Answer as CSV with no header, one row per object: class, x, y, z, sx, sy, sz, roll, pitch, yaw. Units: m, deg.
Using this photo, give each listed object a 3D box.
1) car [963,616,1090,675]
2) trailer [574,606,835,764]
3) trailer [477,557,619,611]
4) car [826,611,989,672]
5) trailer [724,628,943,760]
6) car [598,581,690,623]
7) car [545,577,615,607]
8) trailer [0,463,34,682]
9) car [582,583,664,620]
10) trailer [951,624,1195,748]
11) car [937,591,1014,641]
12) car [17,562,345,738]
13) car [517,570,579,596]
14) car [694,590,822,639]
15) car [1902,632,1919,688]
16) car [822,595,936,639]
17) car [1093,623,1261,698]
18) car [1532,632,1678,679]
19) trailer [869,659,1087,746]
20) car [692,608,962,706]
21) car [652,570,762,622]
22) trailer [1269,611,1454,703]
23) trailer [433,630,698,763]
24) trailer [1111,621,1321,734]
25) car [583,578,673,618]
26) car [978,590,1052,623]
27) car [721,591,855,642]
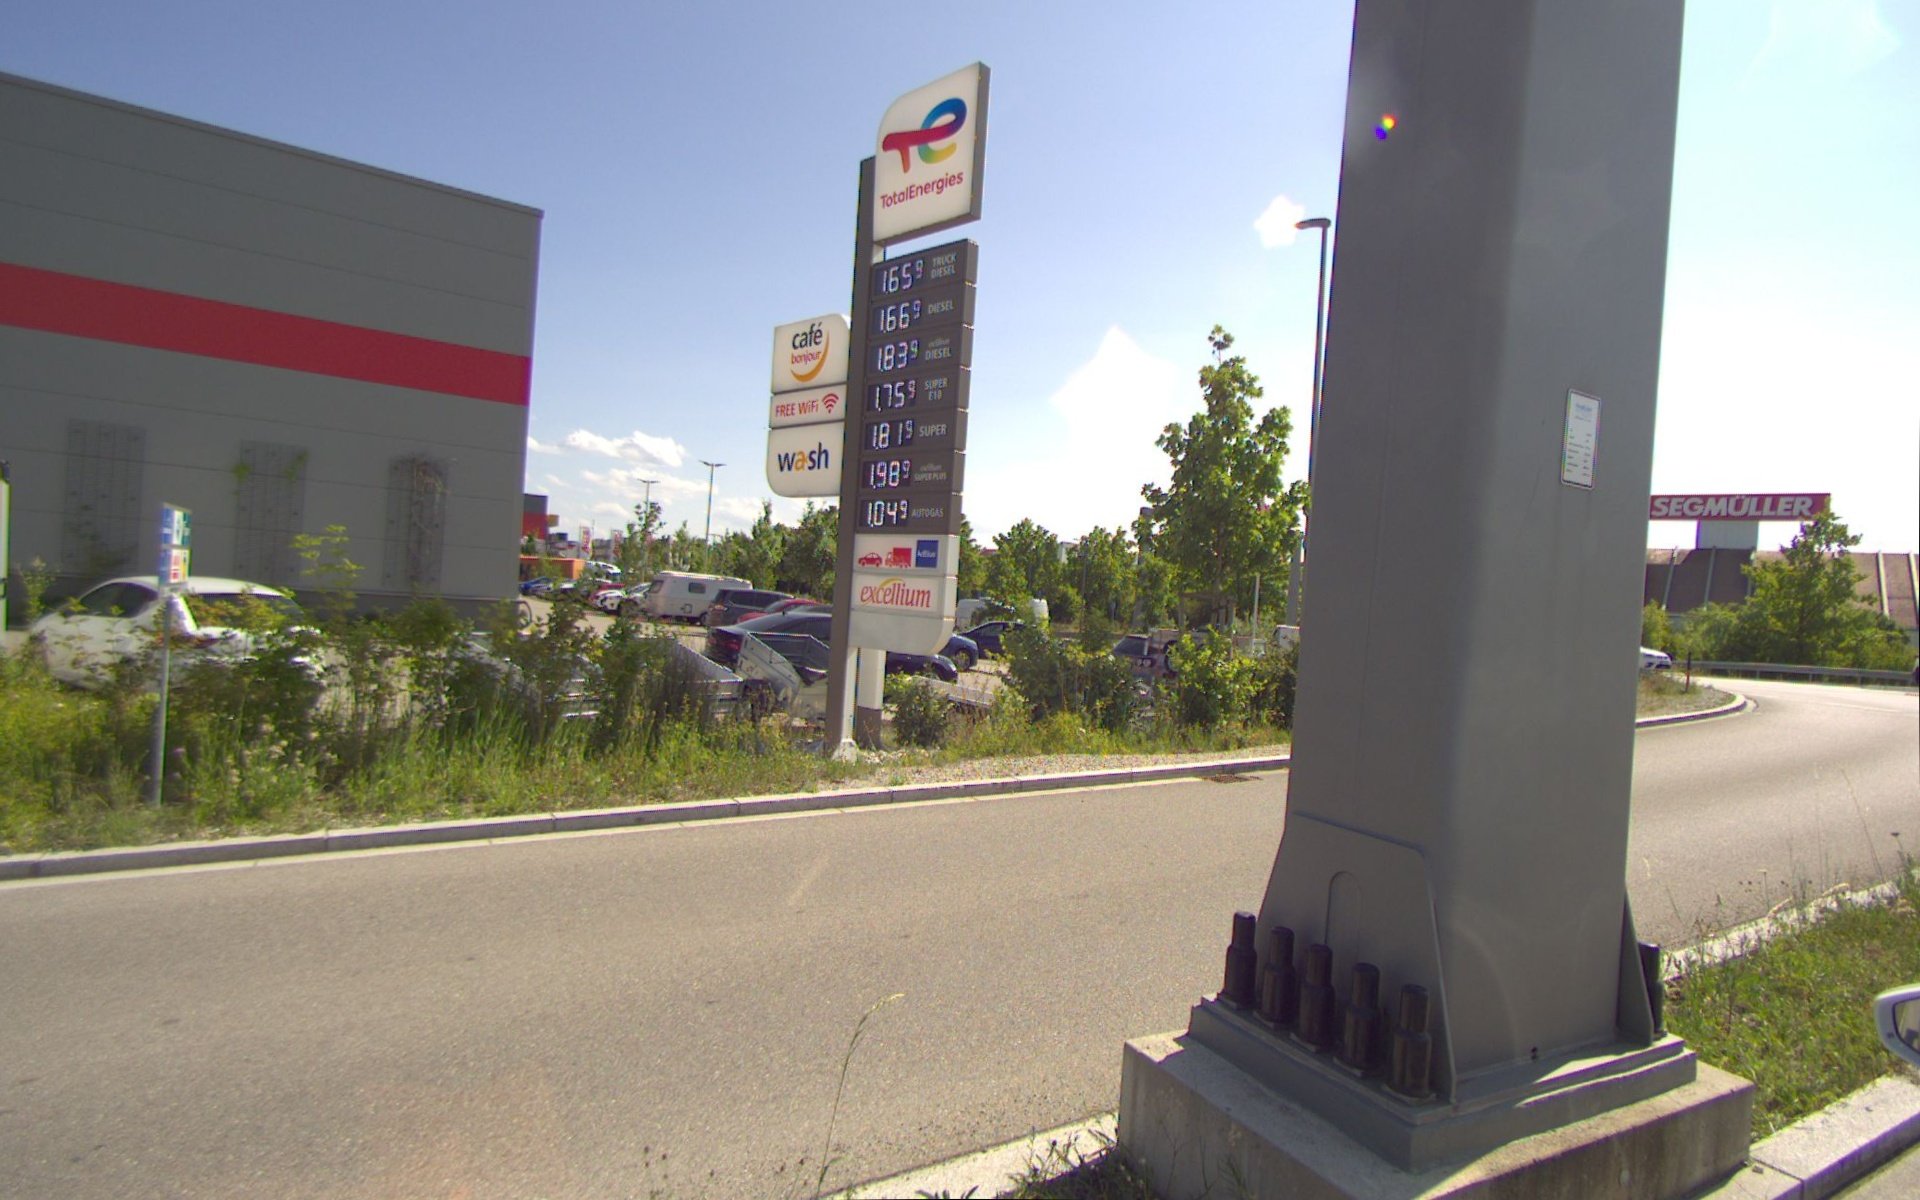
car,2.144,1.454,32.694,3.921,1.483,1.826,5,1,2
trailer,-3.192,0.929,12.318,3.143,1.503,1.541,4,1,41
trailer,-37.212,-1.476,90.835,12.110,4.209,2.562,3,0,8
car,-1.359,1.113,26.765,3.958,1.483,1.808,3,-1,-34
trailer,-1.731,1.149,13.270,1.380,1.340,2.873,2,1,-44
car,-14.298,0.107,45.486,3.650,1.672,1.730,3,1,-30
car,-23.661,-0.492,62.567,3.713,1.672,1.724,2,1,-40
trailer,-10.626,-0.354,9.585,3.182,2.040,1.744,4,1,30
car,-17.566,0.080,52.374,3.706,1.672,1.727,3,1,-35
trailer,1.903,1.365,17.014,3.629,1.471,1.706,7,3,27
car,0.990,1.050,68.950,2.063,2.960,6.079,2,1,-34
car,-8.961,0.461,11.481,3.931,1.556,1.715,4,1,32
car,-29.230,-1.201,71.285,3.706,1.672,1.727,3,1,-35
car,-6.992,0.508,34.830,3.951,1.483,1.812,3,1,-29
car,27.652,1.724,26.300,1.757,1.550,4.286,3,0,-2
car,-3.267,0.673,40.902,4.366,1.483,1.826,3,1,2
car,5.201,1.436,24.010,3.702,1.573,1.729,3,1,-31
car,24.905,2.121,38.940,1.771,1.424,4.379,3,1,-31
trailer,0.293,1.520,15.525,2.786,0.893,1.863,4,1,29
car,-2.360,1.001,18.067,4.442,1.503,1.790,2,1,-29
car,-11.123,-0.180,44.235,4.302,2.040,1.887,3,1,-33
trailer,8.930,1.189,22.336,3.628,1.795,1.805,2,0,27
trailer,-4.388,0.984,11.120,2.727,1.100,1.318,4,1,31
trailer,5.058,1.435,19.848,3.628,1.795,1.805,4,1,27
car,-15.693,-0.094,47.526,3.706,1.672,1.727,3,1,-35
car,4.354,0.506,80.967,2.026,2.264,6.192,2,1,-44
car,-5.666,0.571,33.226,3.966,1.483,1.805,2,1,-39
